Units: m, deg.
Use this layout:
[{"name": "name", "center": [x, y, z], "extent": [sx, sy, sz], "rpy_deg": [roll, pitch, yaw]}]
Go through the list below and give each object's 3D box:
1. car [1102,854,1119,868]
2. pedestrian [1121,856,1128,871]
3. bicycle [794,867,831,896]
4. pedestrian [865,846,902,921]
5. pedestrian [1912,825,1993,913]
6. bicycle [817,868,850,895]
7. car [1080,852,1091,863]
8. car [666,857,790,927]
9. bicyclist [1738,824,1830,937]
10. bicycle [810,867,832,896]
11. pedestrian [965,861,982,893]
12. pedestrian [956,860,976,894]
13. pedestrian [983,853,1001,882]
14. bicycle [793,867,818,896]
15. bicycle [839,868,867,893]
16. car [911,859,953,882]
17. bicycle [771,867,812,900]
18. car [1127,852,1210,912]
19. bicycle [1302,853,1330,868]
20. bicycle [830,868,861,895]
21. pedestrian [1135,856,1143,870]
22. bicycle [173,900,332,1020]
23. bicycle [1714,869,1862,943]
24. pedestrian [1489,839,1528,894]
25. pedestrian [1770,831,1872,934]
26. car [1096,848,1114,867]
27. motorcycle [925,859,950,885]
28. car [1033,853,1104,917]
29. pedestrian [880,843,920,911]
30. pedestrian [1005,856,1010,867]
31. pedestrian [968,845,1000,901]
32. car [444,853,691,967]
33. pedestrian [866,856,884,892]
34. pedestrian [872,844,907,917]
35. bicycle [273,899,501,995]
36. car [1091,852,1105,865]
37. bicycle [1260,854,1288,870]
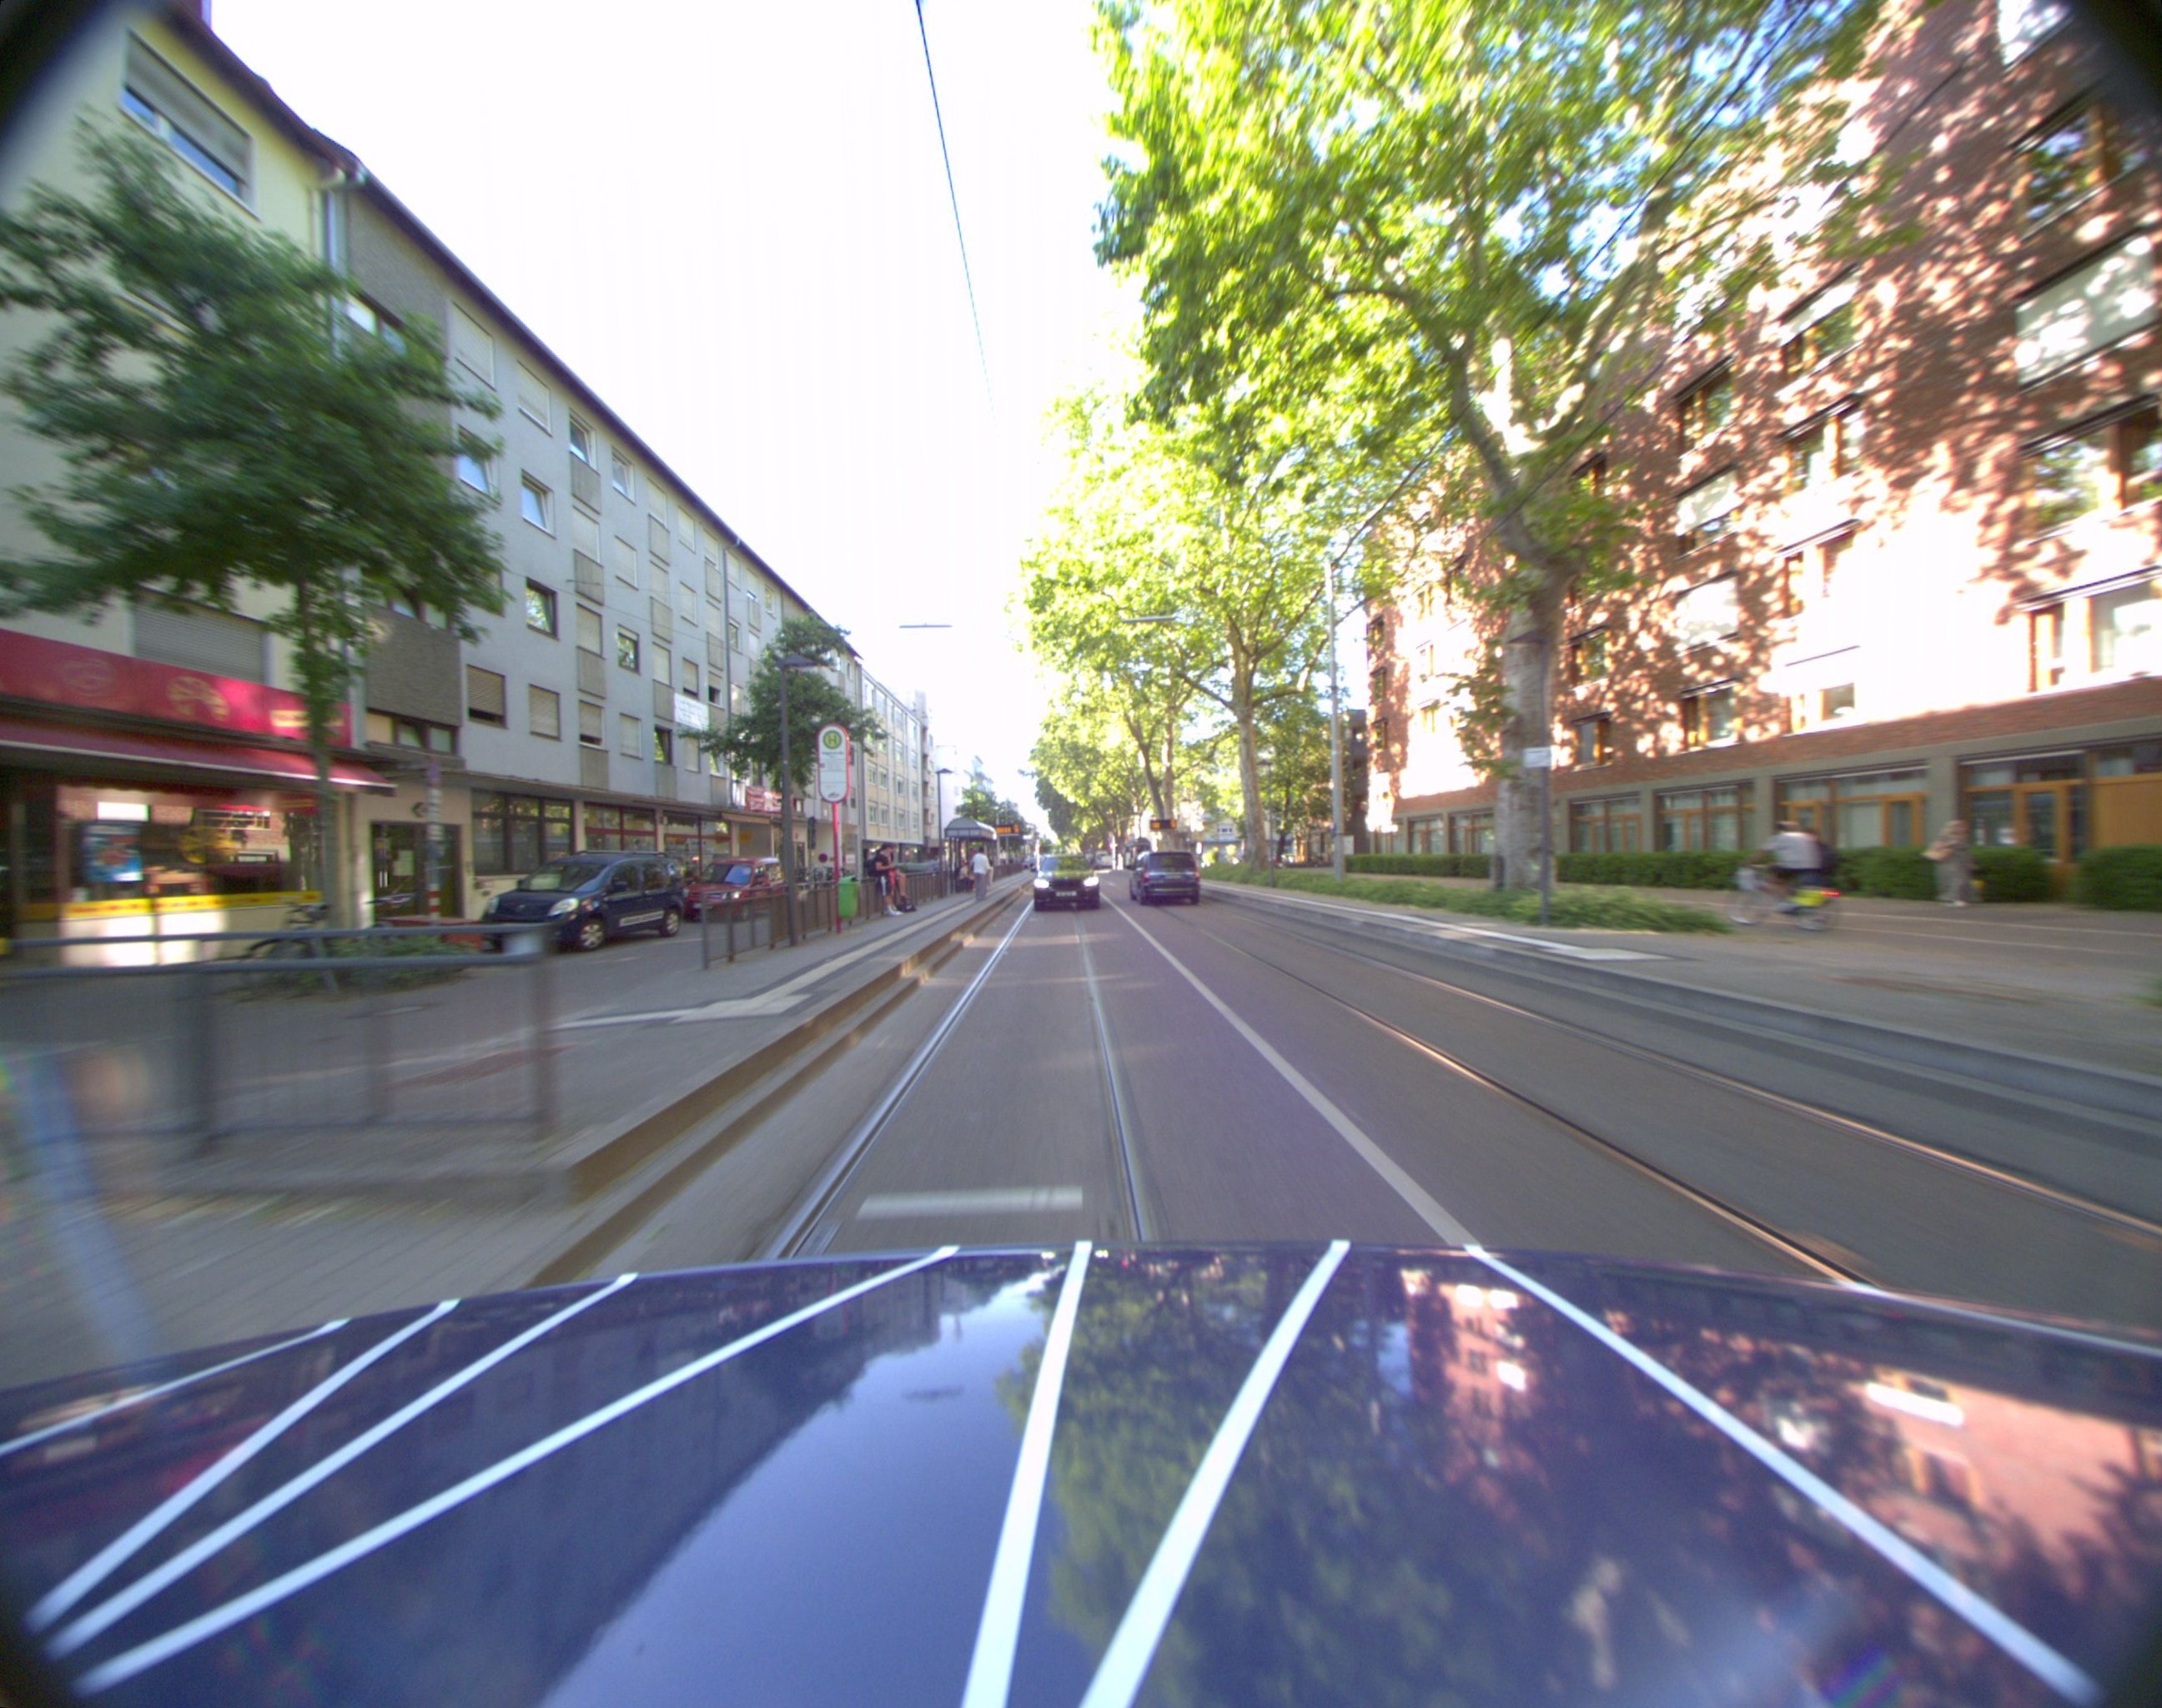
[{"name": "car", "center": [4.252, 1.011, 110.925], "extent": [2.041, 1.881, 5.072], "rpy_deg": [-3, 0, -2]}, {"name": "pedestrian", "center": [4.916, 1.074, 86.792], "extent": [0.708, 1.584, 0.561], "rpy_deg": [-3, 1, 0]}, {"name": "bicycle", "center": [-11.599, 1.178, 32.912], "extent": [0.773, 1.173, 2.782], "rpy_deg": [4, -1, -5]}, {"name": "pedestrian", "center": [-4.724, 0.692, 18.195], "extent": [0.690, 1.745, 0.580], "rpy_deg": [-3, 1, -7]}, {"name": "pedestrian", "center": [16.318, 0.272, 14.241], "extent": [0.666, 1.564, 0.715], "rpy_deg": [-3, 1, -1]}, {"name": "bicycle", "center": [-11.408, 1.249, 35.080], "extent": [0.773, 1.173, 2.782], "rpy_deg": [4, -1, -5]}, {"name": "car", "center": [0.989, 0.788, 166.558], "extent": [2.142, 2.274, 4.964], "rpy_deg": [-3, 0, -2]}, {"name": "car", "center": [-9.920, 0.989, 21.736], "extent": [1.693, 1.745, 4.172], "rpy_deg": [2, 0, -2]}, {"name": "bicyclist", "center": [11.628, 0.421, 12.594], "extent": [0.701, 1.777, 0.839], "rpy_deg": [-3, 1, 1]}, {"name": "bicycle", "center": [-11.645, 1.206, 34.121], "extent": [0.774, 1.173, 2.779], "rpy_deg": [4, -1, -17]}, {"name": "pedestrian", "center": [-4.422, 0.931, 31.203], "extent": [0.586, 1.297, 0.526], "rpy_deg": [-3, 1, -12]}, {"name": "pedestrian", "center": [-4.632, 0.920, 30.670], "extent": [0.721, 1.318, 0.493], "rpy_deg": [-3, 1, -12]}, {"name": "pedestrian", "center": [-5.002, 0.770, 42.726], "extent": [0.648, 1.567, 0.855], "rpy_deg": [-2, 1, 17]}, {"name": "bicycle", "center": [-12.132, 1.171, 33.549], "extent": [0.774, 1.173, 2.779], "rpy_deg": [4, -2, -16]}, {"name": "bicycle", "center": [-11.607, 1.329, 38.741], "extent": [0.773, 1.173, 2.782], "rpy_deg": [3, -1, -5]}, {"name": "car", "center": [-10.891, 1.199, 55.852], "extent": [1.958, 1.474, 4.660], "rpy_deg": [-3, 0, 1]}, {"name": "bicycle", "center": [-11.512, 1.162, 30.297], "extent": [0.773, 1.173, 2.781], "rpy_deg": [2, 0, -5]}, {"name": "car", "center": [2.792, 0.832, 25.444], "extent": [1.999, 1.706, 5.142], "rpy_deg": [-3, 0, -1]}, {"name": "bicycle", "center": [18.753, 0.530, 60.654], "extent": [0.823, 1.088, 2.033], "rpy_deg": [-3, 1, -39]}, {"name": "bicycle", "center": [-11.336, 1.306, 36.654], "extent": [0.773, 1.173, 2.782], "rpy_deg": [4, -1, -5]}, {"name": "pedestrian", "center": [5.263, 0.801, 69.129], "extent": [0.708, 1.197, 0.473], "rpy_deg": [-3, 1, 0]}, {"name": "bicycle", "center": [-10.417, 1.260, 9.661], "extent": [0.686, 1.202, 2.206], "rpy_deg": [0, 1, -29]}, {"name": "bicycle", "center": [11.640, 0.819, 12.602], "extent": [0.717, 1.057, 1.839], "rpy_deg": [-3, 0, 0]}, {"name": "pedestrian", "center": [13.964, 0.397, 24.848], "extent": [0.668, 1.733, 0.972], "rpy_deg": [-3, 1, -1]}, {"name": "pedestrian", "center": [12.618, 0.463, 12.987], "extent": [0.740, 1.662, 0.968], "rpy_deg": [-3, 1, 0]}, {"name": "car", "center": [3.772, 0.590, 121.092], "extent": [2.429, 2.833, 5.072], "rpy_deg": [-3, 0, -2]}, {"name": "motorcycle", "center": [-8.501, 1.048, 45.152], "extent": [1.055, 1.446, 2.208], "rpy_deg": [-3, 0, -1]}, {"name": "car", "center": [-0.441, 0.882, 24.339], "extent": [1.937, 1.718, 5.072], "rpy_deg": [-3, 0, -2]}, {"name": "pedestrian", "center": [-4.664, 0.582, 19.613], "extent": [0.847, 1.691, 0.692], "rpy_deg": [-3, 1, -7]}, {"name": "pedestrian", "center": [-11.377, 1.161, 117.802], "extent": [0.752, 1.645, 0.970], "rpy_deg": [-3, 1, -3]}, {"name": "pedestrian", "center": [-3.032, 0.585, 23.852], "extent": [0.836, 1.703, 0.640], "rpy_deg": [-3, 1, 0]}, {"name": "car", "center": [-9.872, 0.966, 15.114], "extent": [1.998, 1.885, 4.194], "rpy_deg": [2, 0, 1]}, {"name": "pedestrian", "center": [-10.570, 1.000, 38.987], "extent": [0.680, 1.794, 0.772], "rpy_deg": [-3, 2, -7]}, {"name": "pedestrian", "center": [-4.761, 0.640, 18.894], "extent": [0.493, 1.760, 0.704], "rpy_deg": [-2, 1, 14]}, {"name": "bicycle", "center": [-9.626, 1.265, 10.623], "extent": [2.210, 1.202, 1.029], "rpy_deg": [0, 1, -1]}, {"name": "car", "center": [3.029, 0.821, 139.061], "extent": [2.142, 2.274, 4.964], "rpy_deg": [-3, 0, -2]}, {"name": "bicycle", "center": [15.456, 0.627, 60.764], "extent": [2.098, 1.182, 0.882], "rpy_deg": [-2, 1, 15]}]
